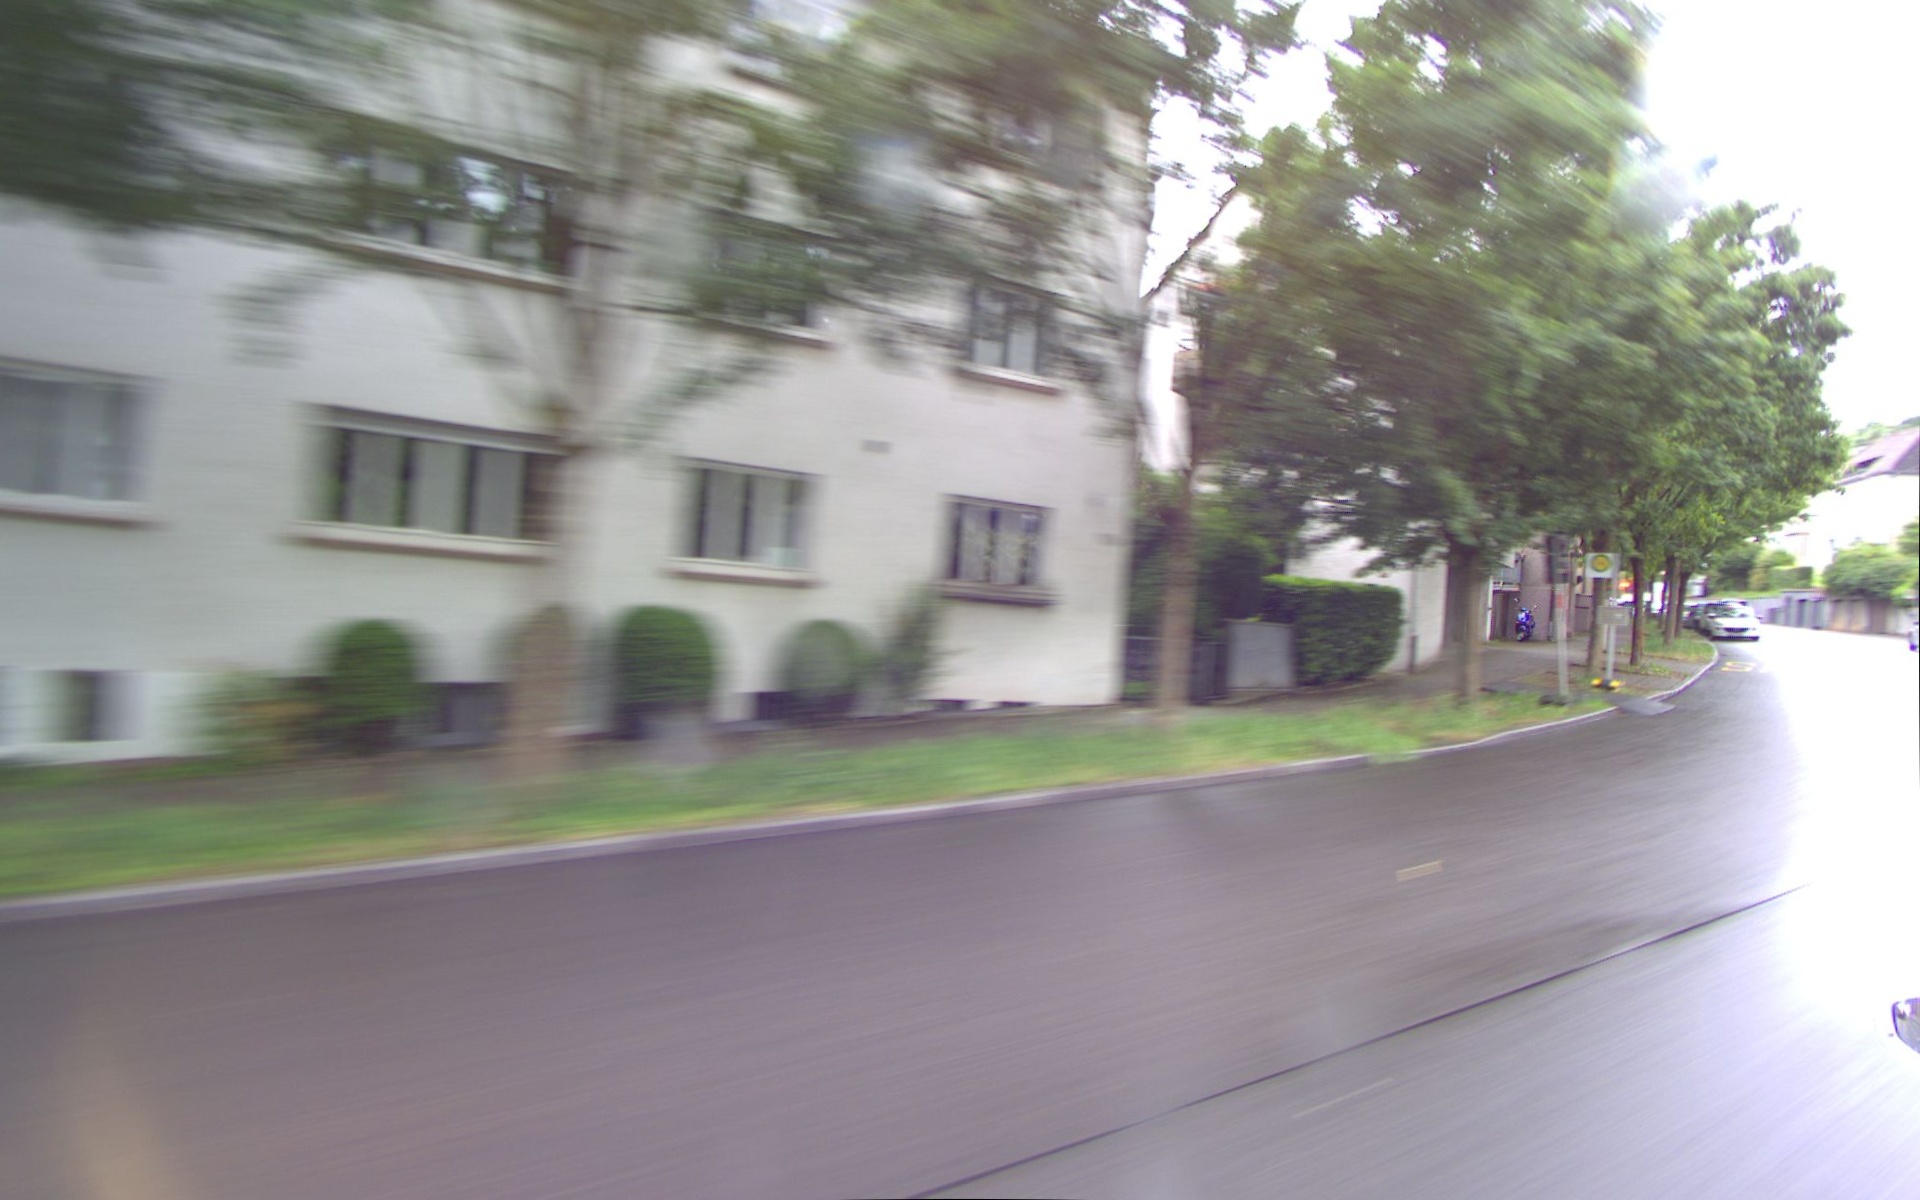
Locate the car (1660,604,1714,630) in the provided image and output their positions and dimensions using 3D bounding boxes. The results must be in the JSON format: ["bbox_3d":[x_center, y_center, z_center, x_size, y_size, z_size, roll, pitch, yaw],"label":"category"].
[{"bbox_3d":[43.605,0.995,60.320,1.963,1.495,3.995,1,0,27],"label":"car"}]

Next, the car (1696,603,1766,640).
[{"bbox_3d":[34.591,0.923,45.182,1.964,1.550,3.992,2,1,30],"label":"car"}]

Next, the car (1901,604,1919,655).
[{"bbox_3d":[34.461,1.035,34.980,1.925,1.583,4.245,3,4,37],"label":"car"}]

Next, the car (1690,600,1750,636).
[{"bbox_3d":[37.227,0.847,49.285,1.851,1.617,3.992,2,1,30],"label":"car"}]

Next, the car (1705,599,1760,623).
[{"bbox_3d":[58.440,0.792,76.062,1.960,1.706,4.000,1,1,18],"label":"car"}]

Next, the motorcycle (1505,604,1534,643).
[{"bbox_3d":[18.743,0.766,33.624,0.606,1.175,1.692,4,4,36],"label":"motorcycle"}]
